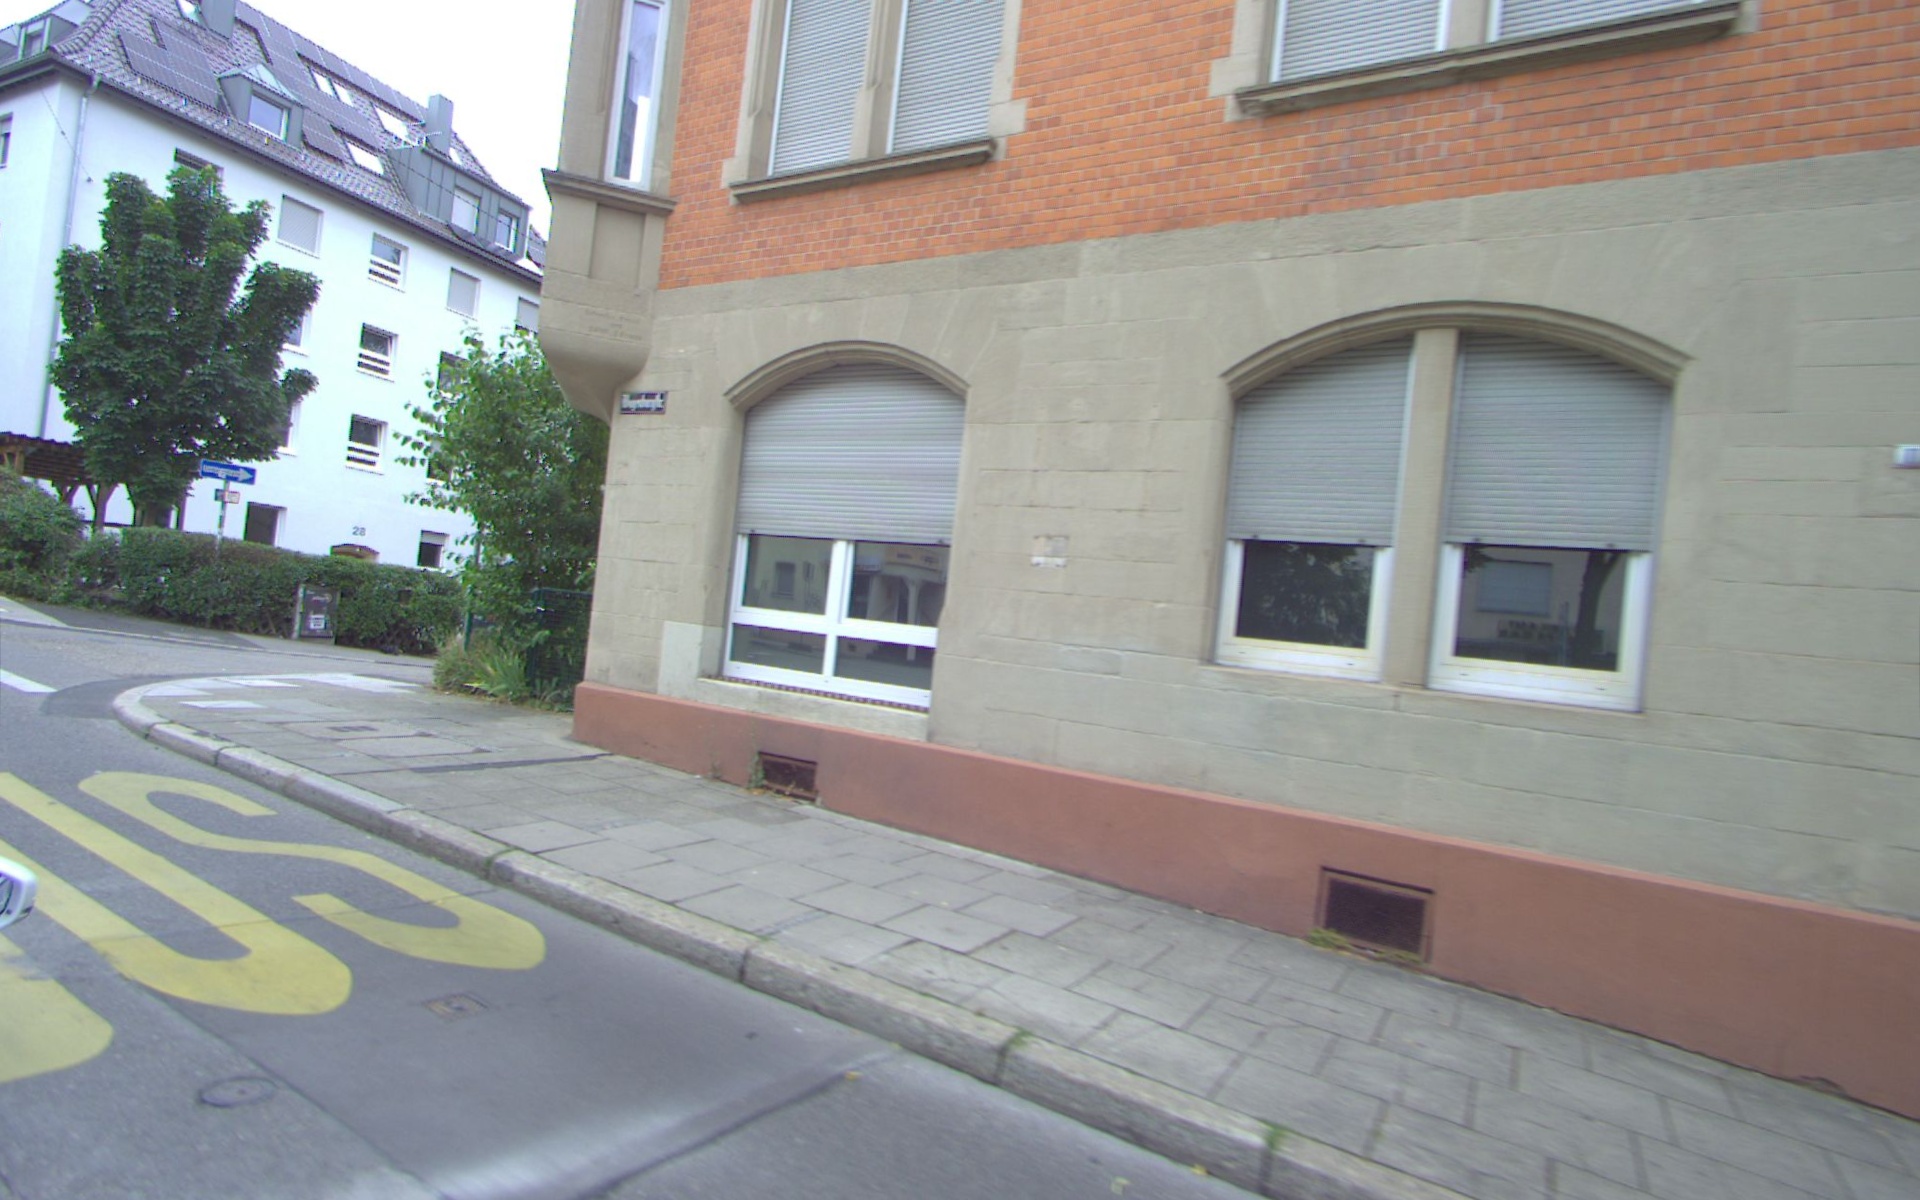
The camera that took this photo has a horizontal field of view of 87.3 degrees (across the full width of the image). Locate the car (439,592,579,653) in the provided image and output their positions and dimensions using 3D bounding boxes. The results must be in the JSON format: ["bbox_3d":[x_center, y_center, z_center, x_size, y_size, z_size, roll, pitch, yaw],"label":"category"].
[{"bbox_3d":[-15.208,0.816,34.191,1.963,1.569,4.003,7,-2,20],"label":"car"}]

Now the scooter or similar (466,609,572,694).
[{"bbox_3d":[-6.051,0.726,13.856,0.408,1.027,1.238,6,-3,29],"label":"scooter or similar"}]
